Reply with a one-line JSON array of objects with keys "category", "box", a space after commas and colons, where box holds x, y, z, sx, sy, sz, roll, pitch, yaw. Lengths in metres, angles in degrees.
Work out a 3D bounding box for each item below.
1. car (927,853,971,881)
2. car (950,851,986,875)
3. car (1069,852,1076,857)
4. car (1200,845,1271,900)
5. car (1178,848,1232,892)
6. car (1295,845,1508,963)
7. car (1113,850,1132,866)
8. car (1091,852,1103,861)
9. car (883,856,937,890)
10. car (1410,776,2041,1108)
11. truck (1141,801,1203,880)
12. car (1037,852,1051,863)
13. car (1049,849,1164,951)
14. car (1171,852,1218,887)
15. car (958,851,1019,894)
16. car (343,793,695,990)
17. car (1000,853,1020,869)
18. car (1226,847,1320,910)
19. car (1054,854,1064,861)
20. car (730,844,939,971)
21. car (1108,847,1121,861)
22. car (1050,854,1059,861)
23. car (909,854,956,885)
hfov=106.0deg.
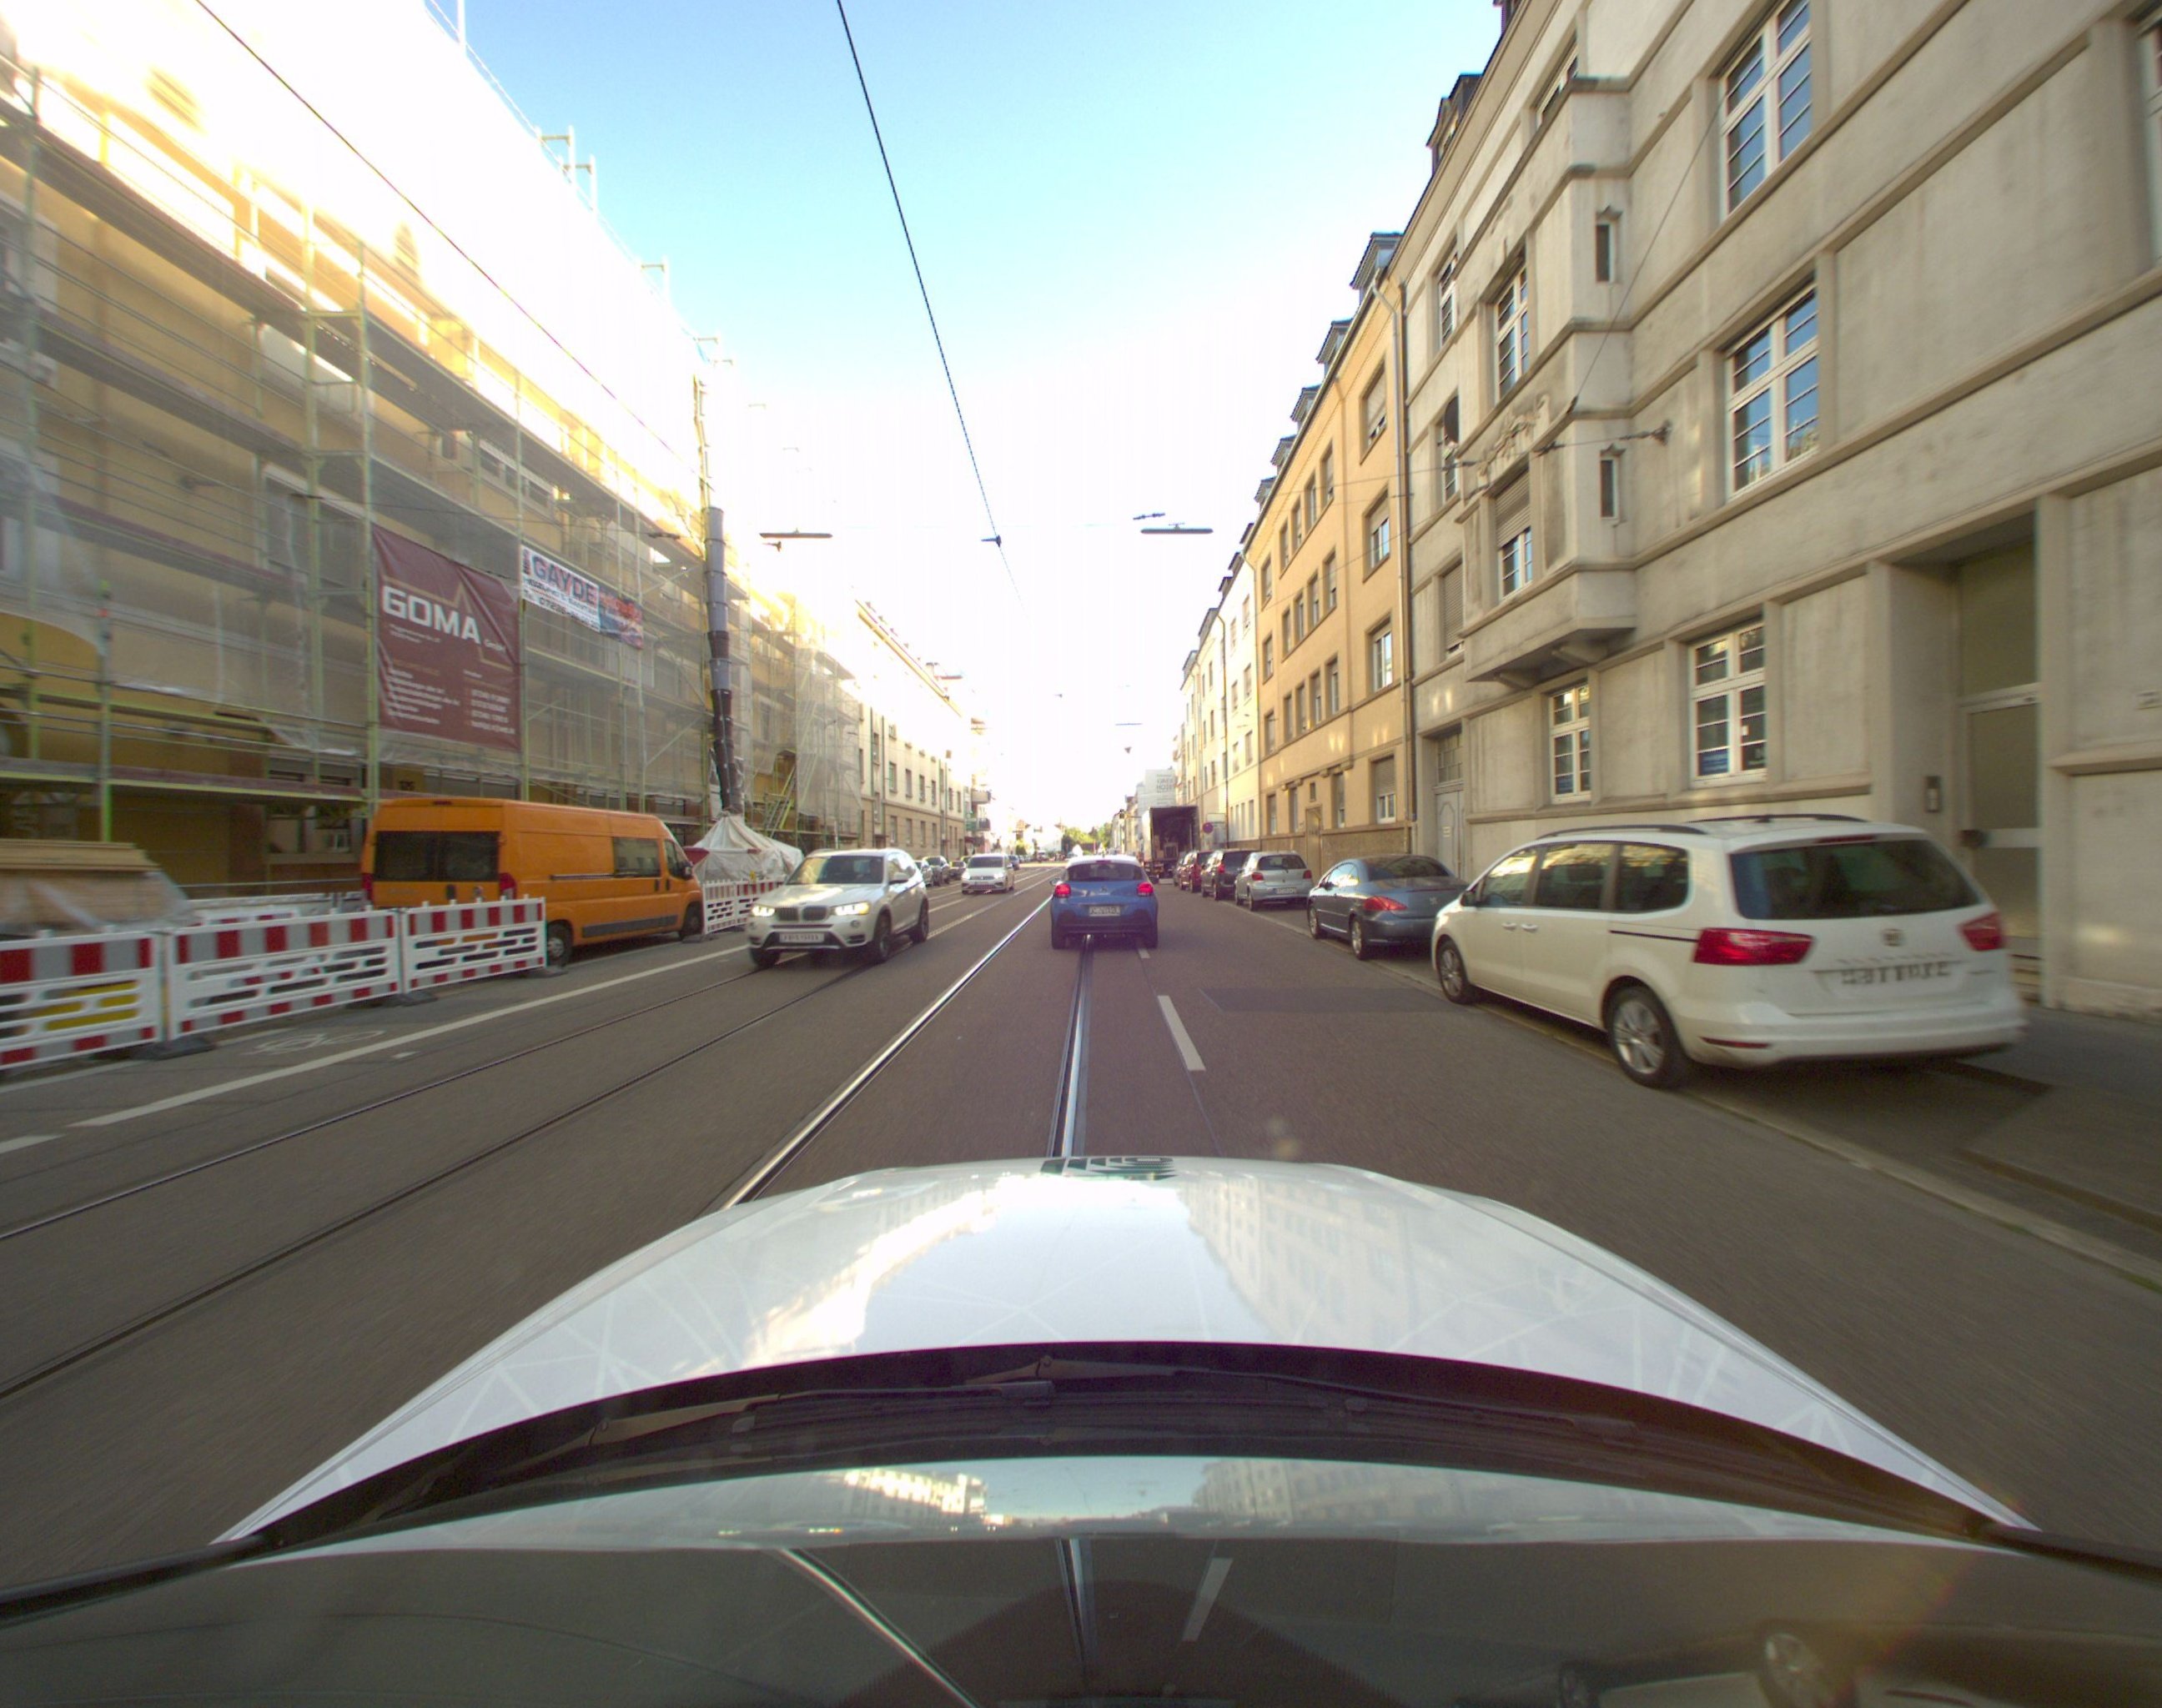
[{"category": "car", "box": [-8.612, 0.827, 53.614, 2.137, 1.621, 4.001, -2, 0, 1]}, {"category": "car", "box": [-8.196, 0.616, 59.386, 1.819, 1.631, 4.850, -1, 0, 2]}, {"category": "car", "box": [-2.535, 0.132, 238.994, 1.759, 1.486, 4.033, -1, 0, 1]}, {"category": "car", "box": [5.035, 0.566, 27.021, 1.658, 1.647, 4.223, -1, 0, 2]}, {"category": "car", "box": [4.972, 0.592, 33.044, 1.658, 1.633, 3.872, -1, 0, 1]}, {"category": "car", "box": [4.695, 0.635, 12.639, 1.716, 1.486, 4.223, -1, 0, 2]}, {"category": "car", "box": [4.187, 0.409, 81.926, 1.759, 1.486, 4.033, -1, 0, 1]}, {"category": "car", "box": [2.977, 0.464, 151.533, 2.172, 1.486, 4.161, -1, 0, 1]}, {"category": "car", "box": [-8.480, 0.908, 40.689, 1.708, 1.518, 4.049, -1, 0, 1]}, {"category": "car", "box": [4.564, 0.487, 6.918, 1.724, 1.827, 4.688, -1, 0, 2]}, {"category": "truck", "box": [5.215, -0.723, 48.748, 2.842, 4.083, 11.277, -1, 0, 2]}, {"category": "car", "box": [-6.077, 0.565, 135.060, 1.894, 1.631, 4.268, -1, 0, 1]}, {"category": "car", "box": [0.438, 0.682, 14.271, 1.728, 1.507, 3.994, 1, 0, 1]}, {"category": "car", "box": [5.163, 0.678, 37.522, 1.658, 1.486, 4.033, -1, 0, 1]}, {"category": "car", "box": [-3.781, 0.697, 33.843, 1.894, 1.631, 4.268, -1, 0, 1]}, {"category": "car", "box": [-8.453, 0.463, 13.046, 2.138, 2.475, 4.978, -2, 0, -1]}, {"category": "car", "box": [-7.403, 0.710, 85.279, 1.821, 1.631, 3.903, -1, 0, -1]}, {"category": "car", "box": [5.094, 0.599, 22.118, 1.658, 1.519, 4.223, -1, 0, 2]}, {"category": "car", "box": [-4.493, 0.721, 166.133, 1.759, 1.486, 4.033, -1, 0, 1]}, {"category": "car", "box": [-3.649, 0.702, 13.008, 1.819, 1.631, 4.492, -1, 0, 2]}, {"category": "car", "box": [5.767, -0.051, 140.743, 2.212, 2.284, 4.085, -1, 0, 1]}, {"category": "car", "box": [-6.033, 0.755, 183.436, 1.759, 1.486, 4.033, -1, 0, 1]}, {"category": "car", "box": [-8.232, 0.816, 45.511, 1.708, 1.594, 4.268, -1, 0, 2]}]
